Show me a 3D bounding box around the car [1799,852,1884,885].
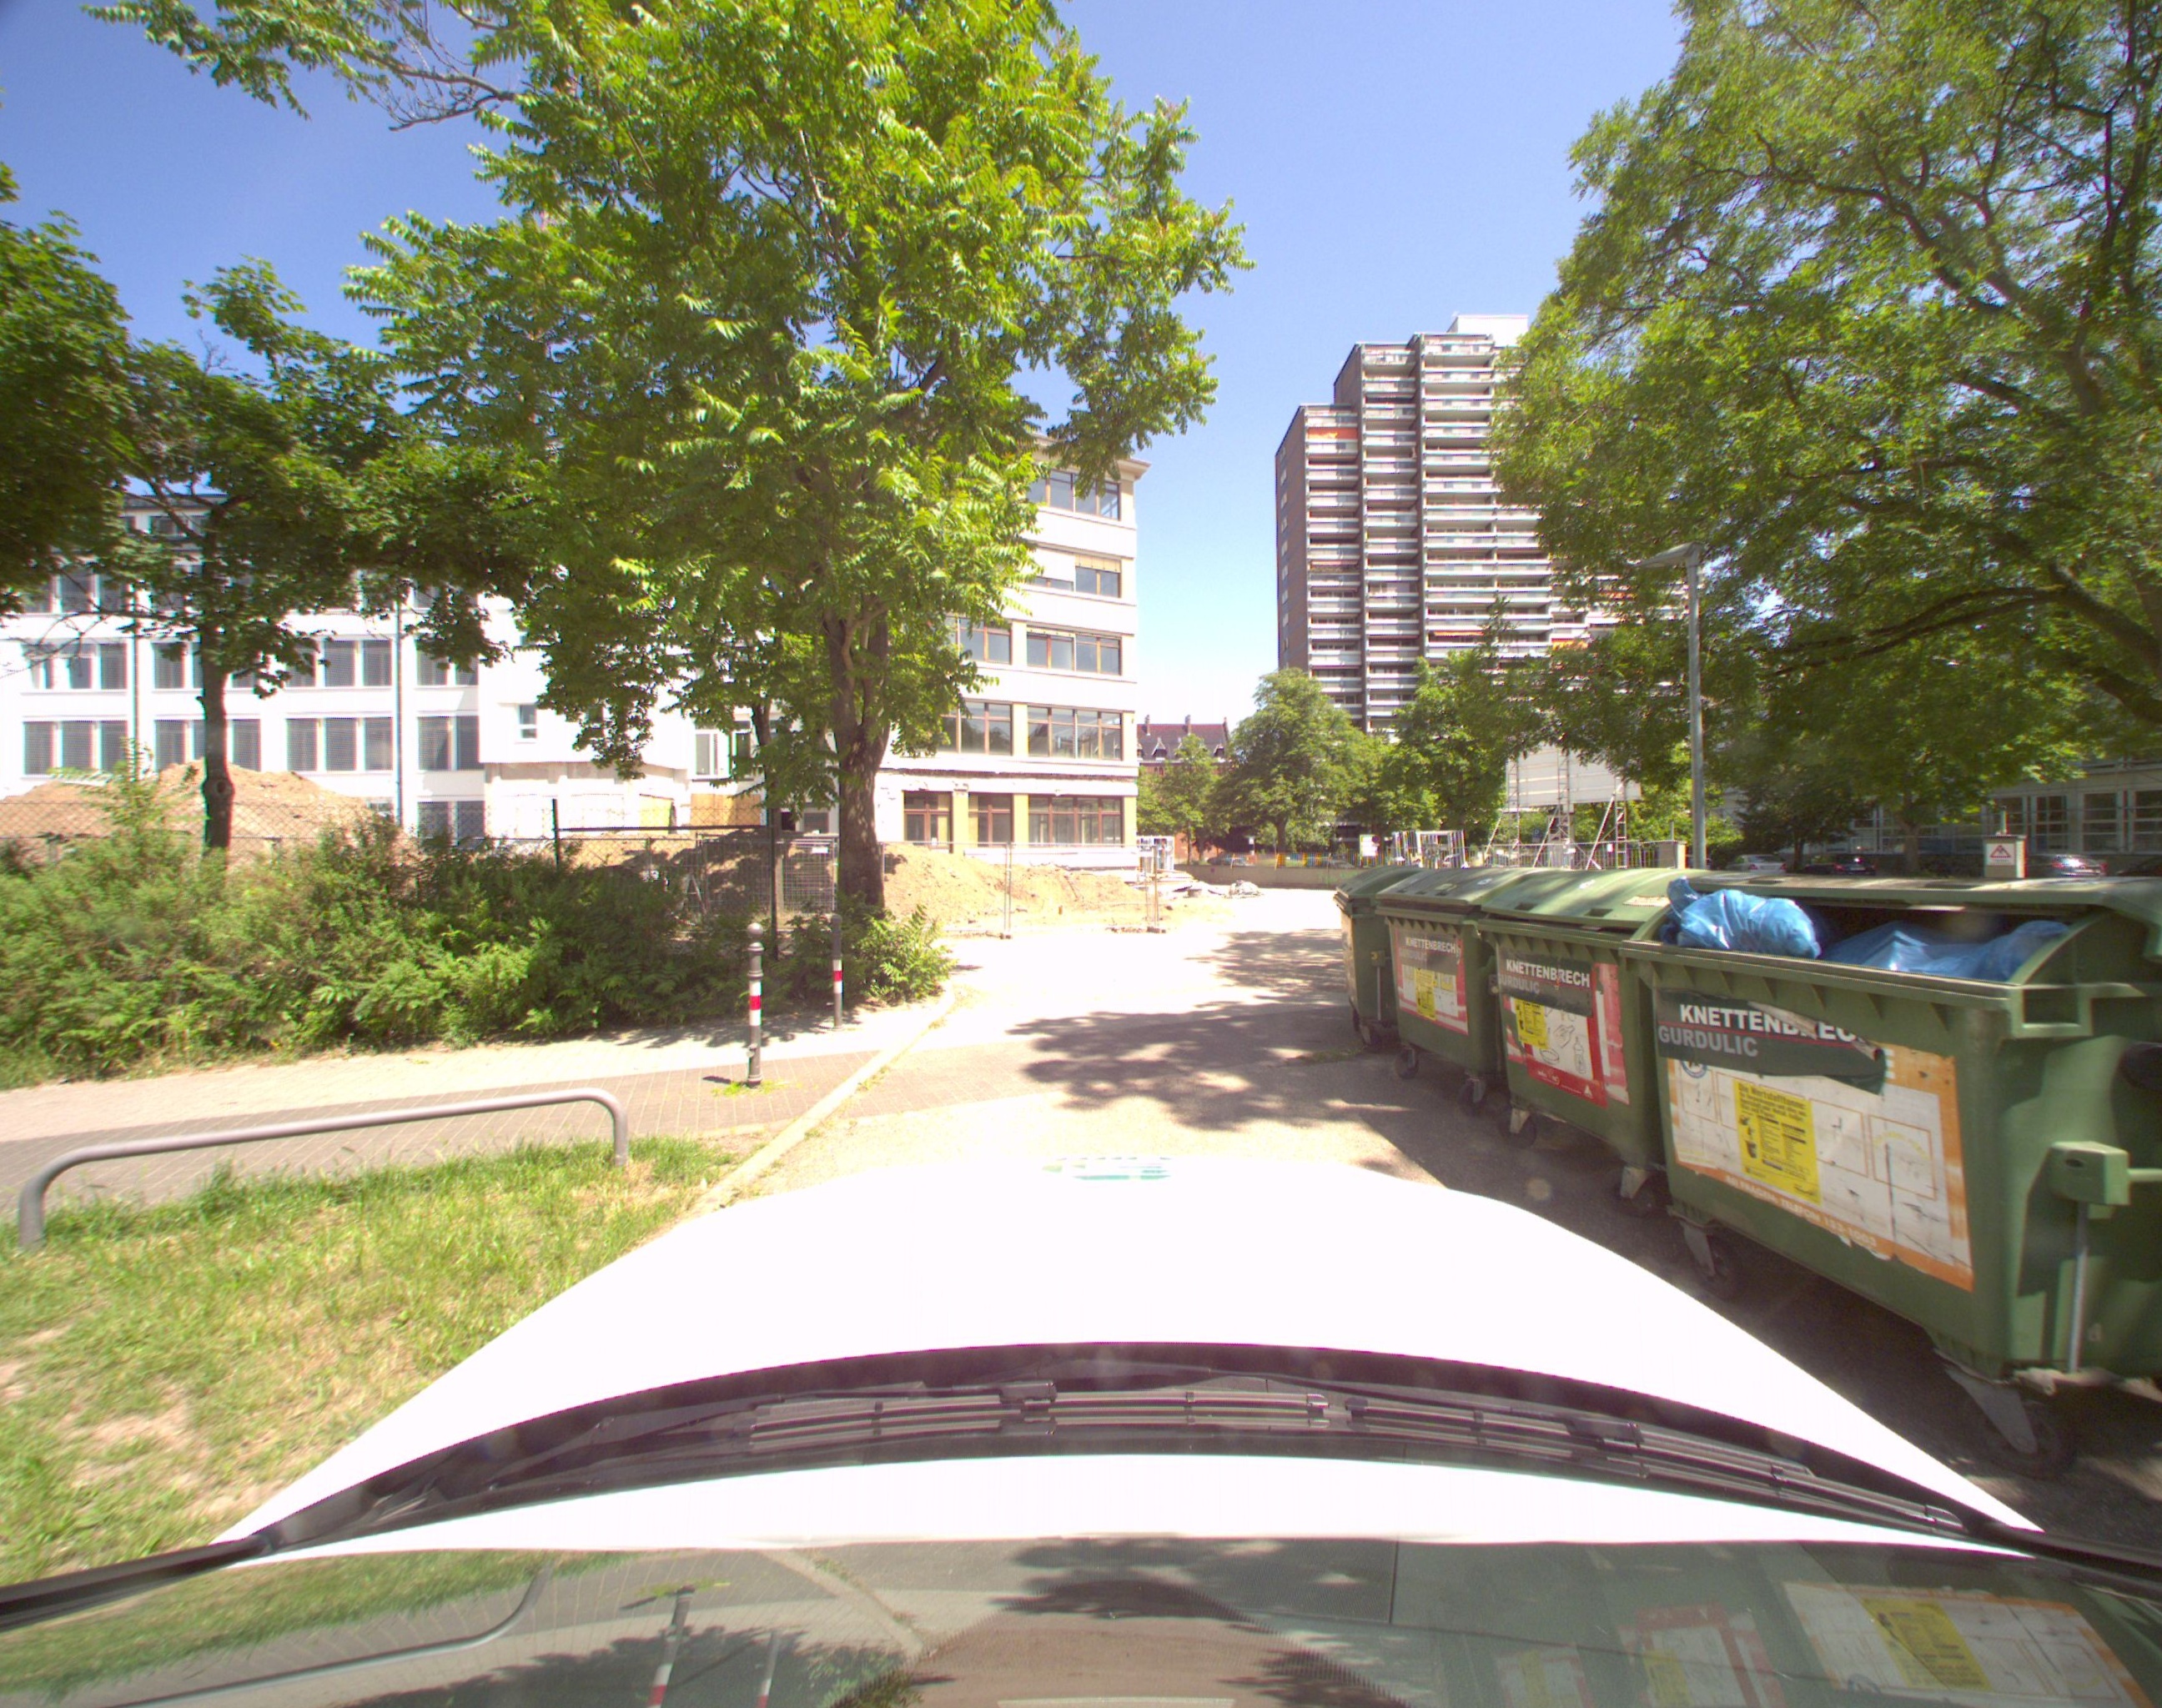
[{"bbox_3d":[35.977,0.671,38.630,1.619,1.464,3.696,-1,-1,20],"label":"car"}]

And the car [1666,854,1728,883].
[{"bbox_3d":[33.062,0.771,43.792,1.619,1.464,3.696,-1,-1,20],"label":"car"}]

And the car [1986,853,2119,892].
[{"bbox_3d":[39.119,0.725,32.936,1.627,1.464,3.693,-1,-1,15],"label":"car"}]

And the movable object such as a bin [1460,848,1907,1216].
[{"bbox_3d":[2.755,0.724,3.964,1.176,1.470,1.310,0,-1,-3],"label":"movable object such as a bin"}]

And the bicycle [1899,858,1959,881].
[{"bbox_3d":[43.666,0.776,41.924,2.371,1.158,0.782,-1,-1,-4],"label":"bicycle"}]

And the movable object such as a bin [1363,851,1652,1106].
[{"bbox_3d":[2.721,0.729,5.406,1.176,1.470,1.309,0,-1,-4],"label":"movable object such as a bin"}]

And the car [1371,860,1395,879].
[{"bbox_3d":[23.220,1.162,62.487,1.619,1.387,3.697,-1,-1,21],"label":"car"}]

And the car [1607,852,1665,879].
[{"bbox_3d":[31.211,0.661,45.923,1.621,1.464,3.693,-1,-1,16],"label":"car"}]

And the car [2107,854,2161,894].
[{"bbox_3d":[40.383,0.731,29.901,1.594,1.445,3.695,-1,-1,18],"label":"car"}]

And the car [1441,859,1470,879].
[{"bbox_3d":[26.485,1.038,57.659,1.619,1.387,3.697,-1,-1,21],"label":"car"}]

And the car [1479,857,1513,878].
[{"bbox_3d":[27.753,0.877,54.530,1.619,1.387,3.697,-1,-1,21],"label":"car"}]

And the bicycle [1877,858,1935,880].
[{"bbox_3d":[43.598,0.784,43.036,2.371,1.158,0.782,-1,-1,-4],"label":"bicycle"}]

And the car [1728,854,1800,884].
[{"bbox_3d":[34.654,0.754,41.428,1.619,1.464,3.696,-1,-1,20],"label":"car"}]

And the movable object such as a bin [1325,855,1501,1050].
[{"bbox_3d":[2.747,0.762,6.945,1.171,1.470,1.337,-1,-1,13],"label":"movable object such as a bin"}]

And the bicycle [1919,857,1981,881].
[{"bbox_3d":[43.727,0.767,40.996,2.371,1.158,0.782,-1,-1,-4],"label":"bicycle"}]

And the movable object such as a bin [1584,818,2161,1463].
[{"bbox_3d":[2.615,0.663,2.582,1.177,1.470,1.309,0,-1,-5],"label":"movable object such as a bin"}]
